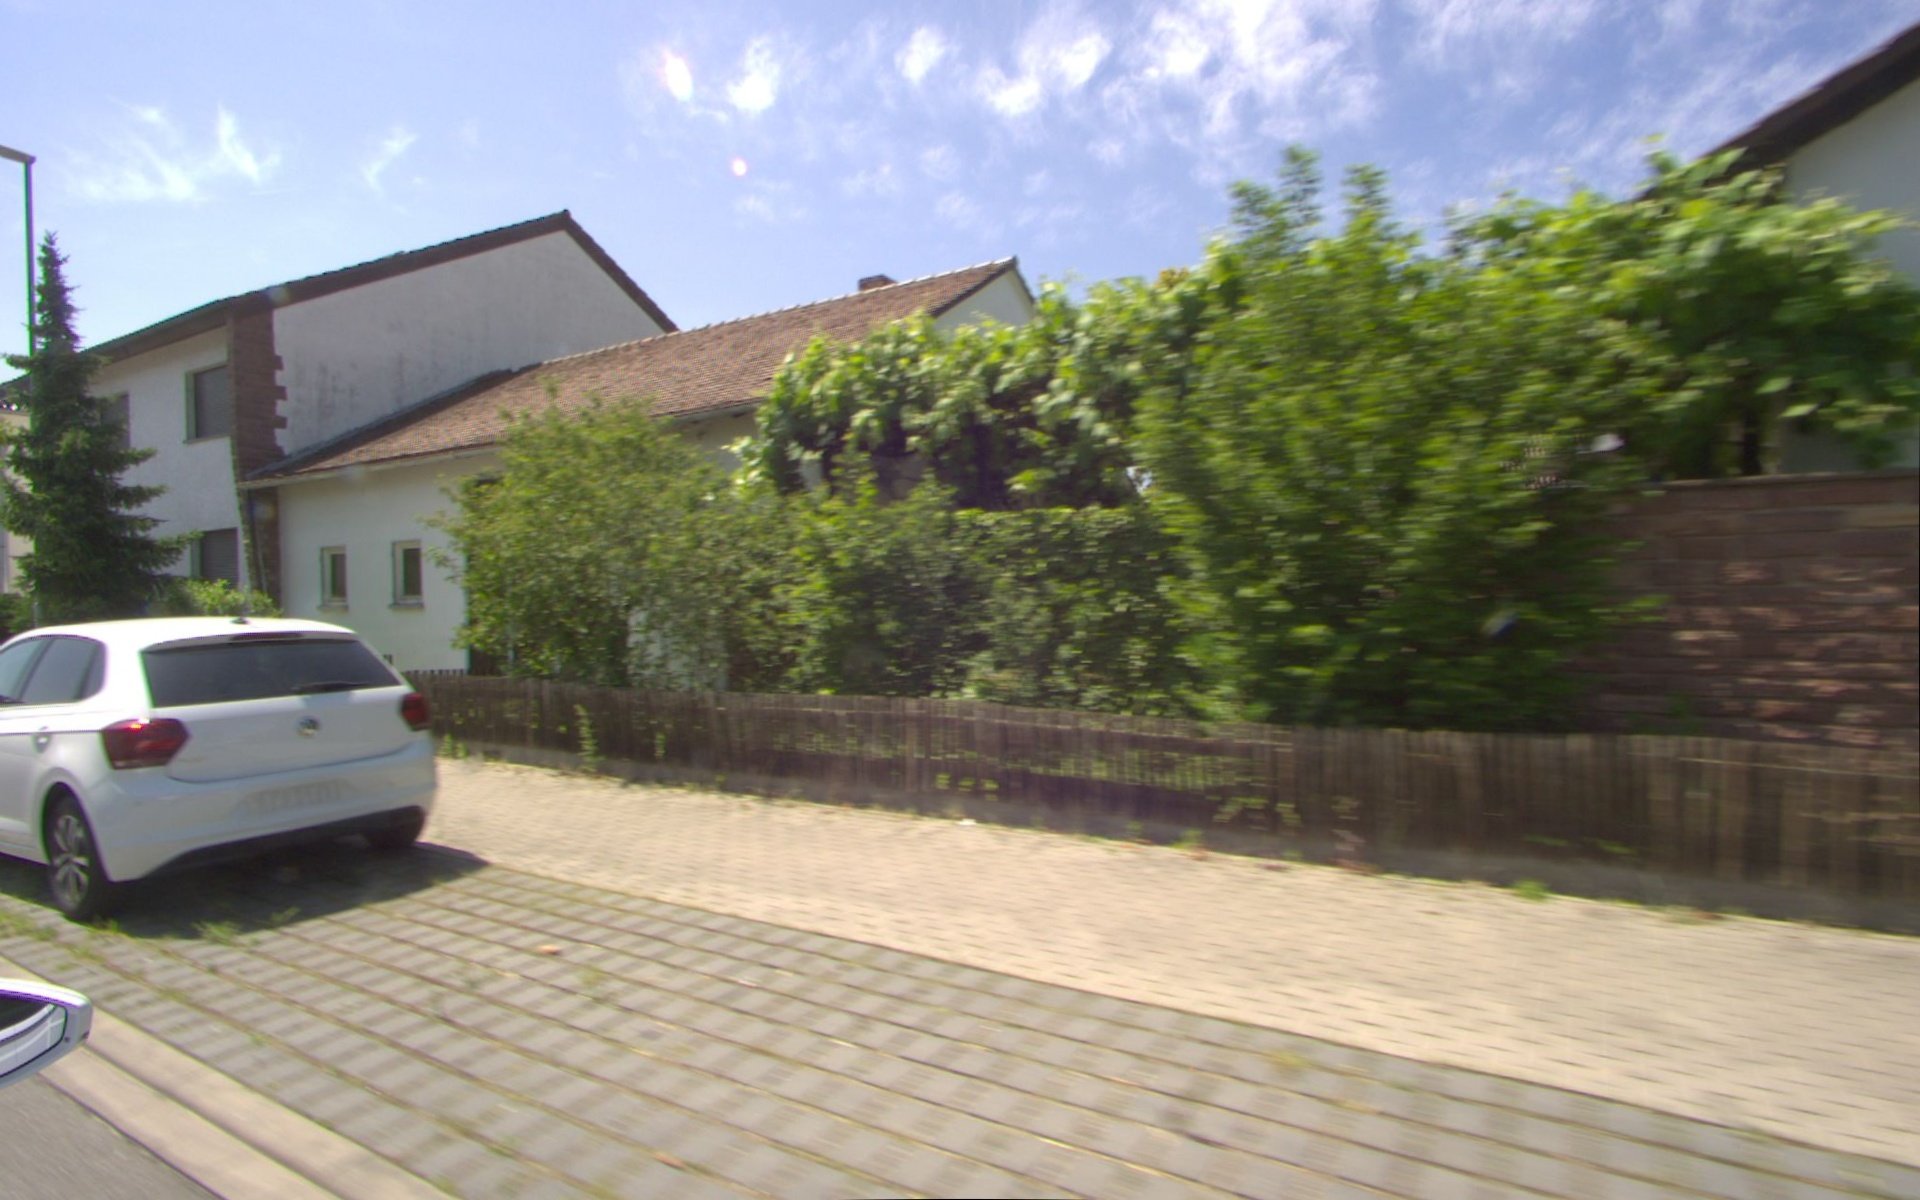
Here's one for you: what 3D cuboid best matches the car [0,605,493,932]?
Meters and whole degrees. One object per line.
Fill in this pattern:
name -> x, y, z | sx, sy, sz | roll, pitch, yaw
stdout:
car -> -4.905, 0.761, 6.219 | 3.811, 1.439, 1.811 | 0, 1, 31
